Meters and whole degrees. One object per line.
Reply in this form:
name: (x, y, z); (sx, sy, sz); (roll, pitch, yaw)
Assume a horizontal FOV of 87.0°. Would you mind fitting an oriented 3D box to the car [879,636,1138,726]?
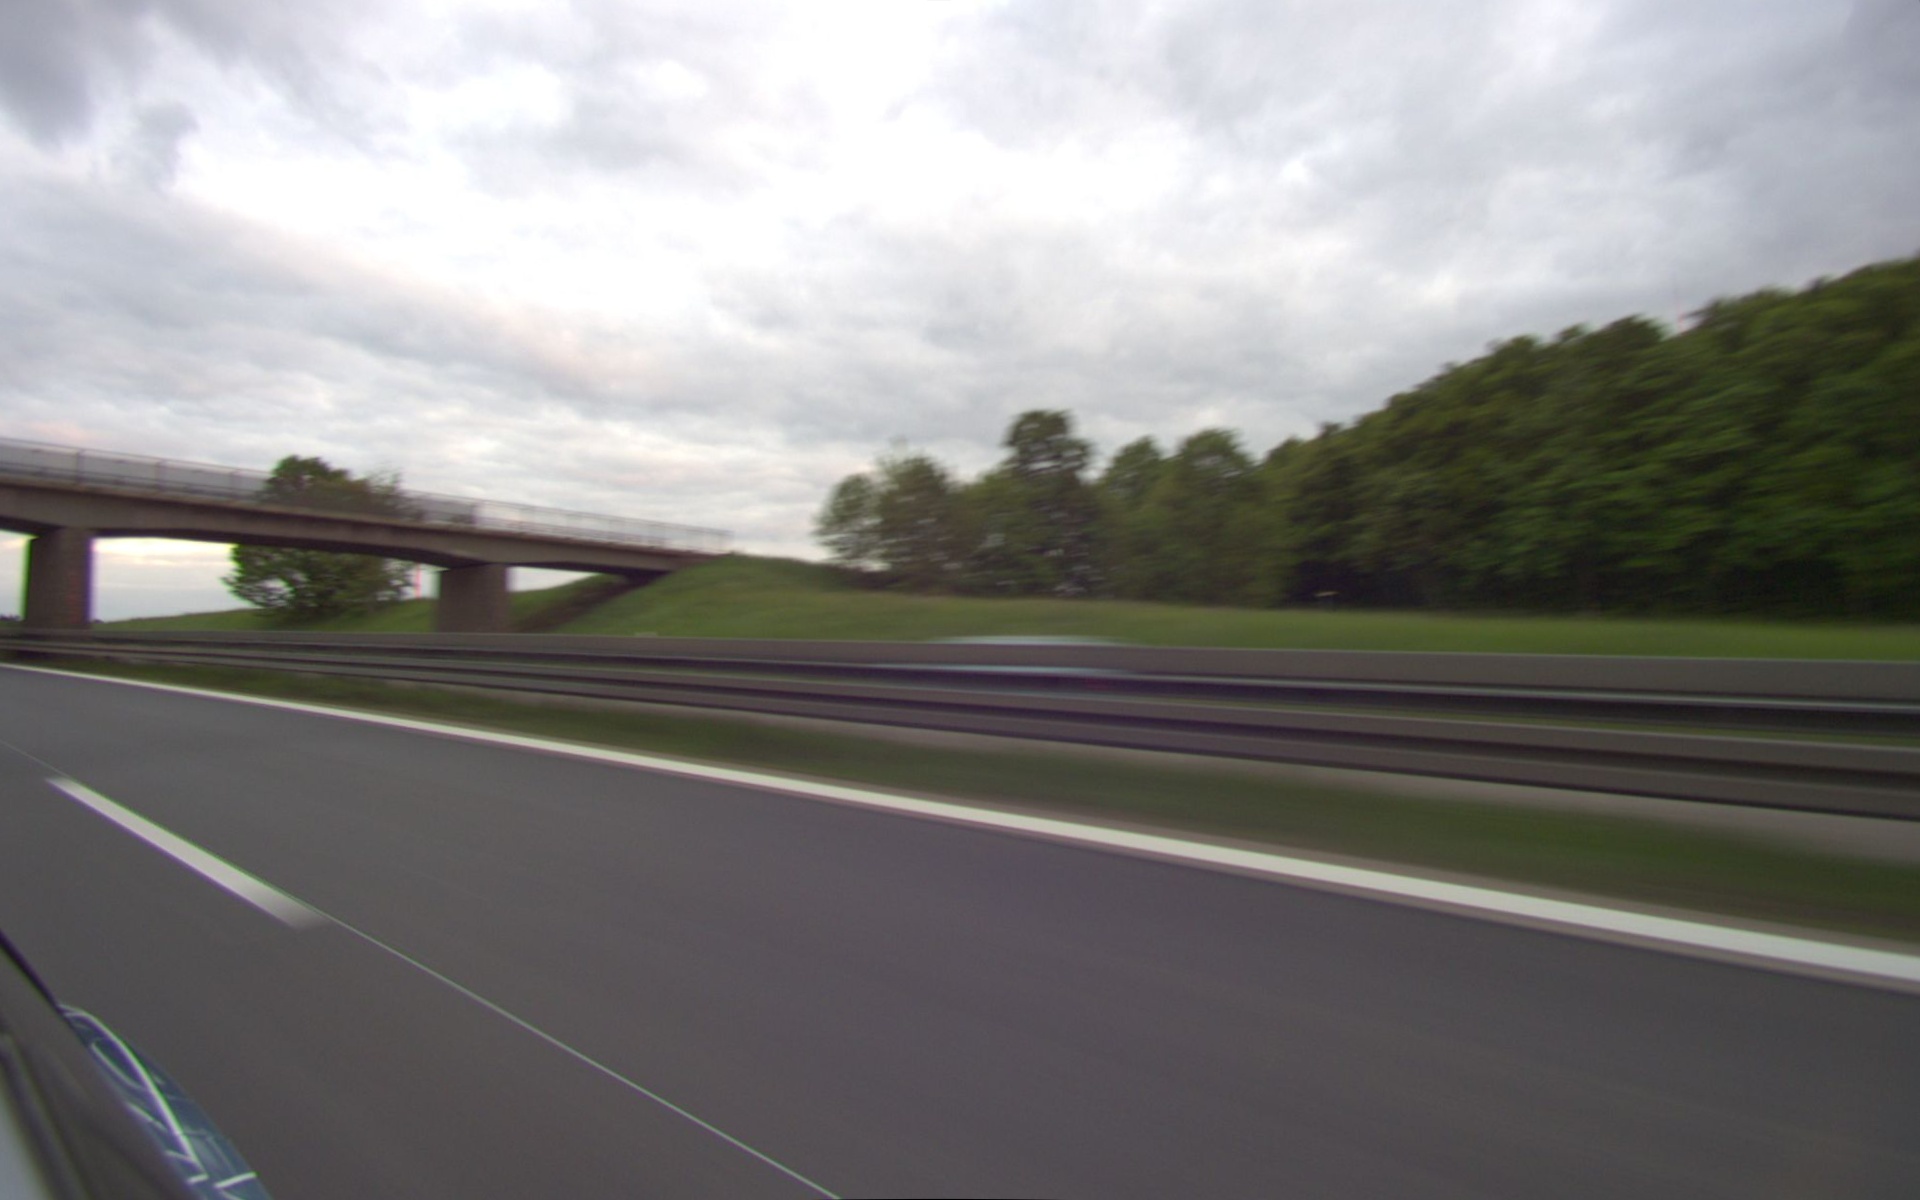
car: (0.794, 1.393, 18.655); (4.675, 1.453, 1.779); (-1, -2, 40)
